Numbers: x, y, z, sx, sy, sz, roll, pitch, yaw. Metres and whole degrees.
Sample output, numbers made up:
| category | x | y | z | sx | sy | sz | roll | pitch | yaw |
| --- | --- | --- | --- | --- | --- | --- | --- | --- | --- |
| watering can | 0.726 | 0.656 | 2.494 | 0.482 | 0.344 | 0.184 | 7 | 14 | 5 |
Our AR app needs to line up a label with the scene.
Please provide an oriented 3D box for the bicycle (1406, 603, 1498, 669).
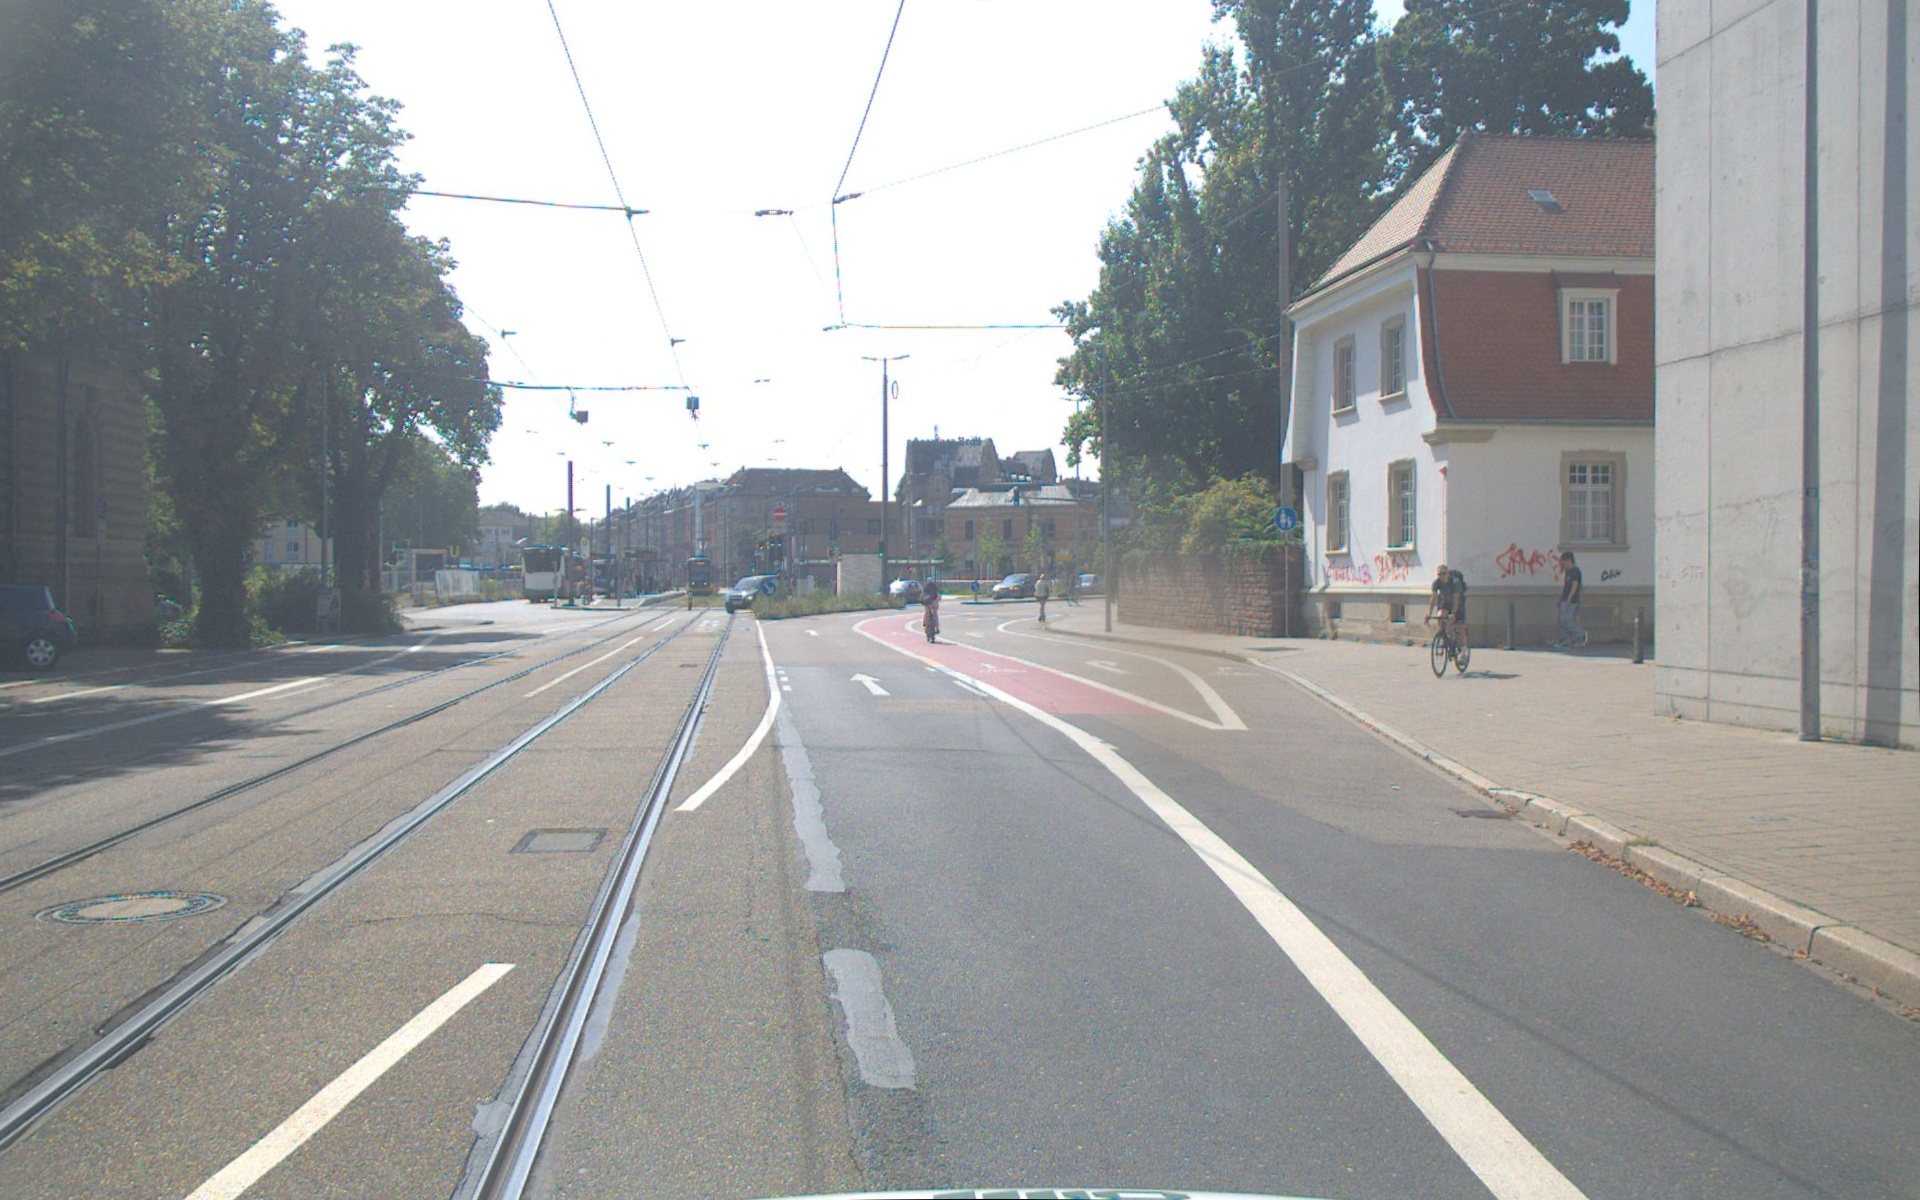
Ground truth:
| category | x | y | z | sx | sy | sz | roll | pitch | yaw |
| --- | --- | --- | --- | --- | --- | --- | --- | --- | --- |
| bicycle | 7.874 | 0.559 | 26.453 | 1.696 | 1.017 | 0.607 | 0 | 1 | -42 |

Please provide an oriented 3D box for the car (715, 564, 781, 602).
| category | x | y | z | sx | sy | sz | roll | pitch | yaw |
| --- | --- | --- | --- | --- | --- | --- | --- | --- | --- |
| car | -9.717 | -0.781 | 76.036 | 1.655 | 1.684 | 3.583 | 1 | 1 | 17 |

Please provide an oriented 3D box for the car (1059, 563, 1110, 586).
| category | x | y | z | sx | sy | sz | roll | pitch | yaw |
| --- | --- | --- | --- | --- | --- | --- | --- | --- | --- |
| car | 8.424 | -1.740 | 111.858 | 1.621 | 1.557 | 4.315 | 0 | 1 | 32 |

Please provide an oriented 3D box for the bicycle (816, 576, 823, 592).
| category | x | y | z | sx | sy | sz | roll | pitch | yaw |
| --- | --- | --- | --- | --- | --- | --- | --- | --- | --- |
| bicycle | -9.334 | -1.048 | 110.019 | 0.455 | 1.050 | 1.546 | 1 | 1 | -6 |

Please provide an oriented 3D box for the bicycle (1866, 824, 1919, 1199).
| category | x | y | z | sx | sy | sz | roll | pitch | yaw |
| --- | --- | --- | --- | --- | --- | --- | --- | --- | --- |
| bicycle | 2.766 | 1.119 | 3.073 | 0.725 | 1.067 | 2.230 | 0 | 1 | -7 |

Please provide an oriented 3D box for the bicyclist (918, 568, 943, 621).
| category | x | y | z | sx | sy | sz | roll | pitch | yaw |
| --- | --- | --- | --- | --- | --- | --- | --- | --- | --- |
| bicyclist | -0.749 | -0.145 | 42.101 | 0.591 | 1.358 | 0.659 | 0 | 1 | -6 |

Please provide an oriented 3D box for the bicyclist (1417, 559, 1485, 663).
| category | x | y | z | sx | sy | sz | roll | pitch | yaw |
| --- | --- | --- | --- | --- | --- | --- | --- | --- | --- |
| bicyclist | 7.834 | 0.163 | 26.375 | 0.984 | 1.626 | 0.618 | -1 | 1 | -42 |

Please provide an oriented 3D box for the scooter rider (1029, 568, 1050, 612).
| category | x | y | z | sx | sy | sz | roll | pitch | yaw |
| --- | --- | --- | --- | --- | --- | --- | --- | --- | --- |
| scooter rider | 3.268 | -0.421 | 67.948 | 0.746 | 1.806 | 0.555 | 0 | 1 | 15 |

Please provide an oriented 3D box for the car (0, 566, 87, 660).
| category | x | y | z | sx | sy | sz | roll | pitch | yaw |
| --- | --- | --- | --- | --- | --- | --- | --- | --- | --- |
| car | -16.780 | 0.207 | 27.025 | 1.791 | 1.522 | 4.134 | 1 | 2 | 45 |

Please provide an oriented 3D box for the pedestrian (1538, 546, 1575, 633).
| category | x | y | z | sx | sy | sz | roll | pitch | yaw |
| --- | --- | --- | --- | --- | --- | --- | --- | --- | --- |
| pedestrian | 11.792 | -0.206 | 32.699 | 0.476 | 1.695 | 0.620 | 0 | 1 | -2 |

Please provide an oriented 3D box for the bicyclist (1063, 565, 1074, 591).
| category | x | y | z | sx | sy | sz | roll | pitch | yaw |
| --- | --- | --- | --- | --- | --- | --- | --- | --- | --- |
| bicyclist | 5.957 | -1.205 | 90.994 | 0.441 | 1.446 | 0.495 | 0 | 1 | 28 |

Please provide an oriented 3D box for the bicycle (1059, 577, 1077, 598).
| category | x | y | z | sx | sy | sz | roll | pitch | yaw |
| --- | --- | --- | --- | --- | --- | --- | --- | --- | --- |
| bicycle | 5.917 | -0.674 | 90.935 | 0.435 | 1.136 | 1.444 | 0 | 1 | 28 |

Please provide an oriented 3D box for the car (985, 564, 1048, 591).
| category | x | y | z | sx | sy | sz | roll | pitch | yaw |
| --- | --- | --- | --- | --- | --- | --- | --- | --- | --- |
| car | 3.523 | -1.402 | 102.357 | 1.741 | 1.638 | 4.659 | 1 | 1 | 34 |

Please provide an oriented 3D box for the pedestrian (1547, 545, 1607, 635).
| category | x | y | z | sx | sy | sz | roll | pitch | yaw |
| --- | --- | --- | --- | --- | --- | --- | --- | --- | --- |
| pedestrian | 11.918 | -0.199 | 31.964 | 0.859 | 1.694 | 0.729 | 0 | 1 | -2 |

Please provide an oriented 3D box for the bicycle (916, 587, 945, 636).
| category | x | y | z | sx | sy | sz | roll | pitch | yaw |
| --- | --- | --- | --- | --- | --- | --- | --- | --- | --- |
| bicycle | -0.759 | 0.279 | 42.137 | 0.592 | 1.183 | 1.808 | 0 | 1 | -6 |

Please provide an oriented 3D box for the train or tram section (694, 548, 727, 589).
| category | x | y | z | sx | sy | sz | roll | pitch | yaw |
| --- | --- | --- | --- | --- | --- | --- | --- | --- | --- |
| train or tram section | -26.611 | -3.373 | 177.183 | 2.831 | 4.138 | 19.113 | 1 | 1 | -7 |

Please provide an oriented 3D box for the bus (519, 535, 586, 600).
| category | x | y | z | sx | sy | sz | roll | pitch | yaw |
| --- | --- | --- | --- | --- | --- | --- | --- | --- | --- |
| bus | -25.256 | -2.009 | 103.014 | 2.902 | 3.840 | 10.578 | 1 | 1 | -8 |

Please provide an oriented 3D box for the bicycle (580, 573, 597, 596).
| category | x | y | z | sx | sy | sz | roll | pitch | yaw |
| --- | --- | --- | --- | --- | --- | --- | --- | --- | --- |
| bicycle | -20.262 | -0.861 | 90.202 | 0.595 | 1.244 | 1.704 | 0 | 1 | -3 |

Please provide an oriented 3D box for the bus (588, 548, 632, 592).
| category | x | y | z | sx | sy | sz | roll | pitch | yaw |
| --- | --- | --- | --- | --- | --- | --- | --- | --- | --- |
| bus | -31.218 | -2.661 | 147.871 | 2.657 | 3.792 | 10.406 | 1 | 1 | -6 |

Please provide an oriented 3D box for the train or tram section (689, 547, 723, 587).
| category | x | y | z | sx | sy | sz | roll | pitch | yaw |
| --- | --- | --- | --- | --- | --- | --- | --- | --- | --- |
| train or tram section | -24.320 | -3.126 | 158.866 | 2.802 | 3.610 | 17.713 | 1 | 1 | -8 |

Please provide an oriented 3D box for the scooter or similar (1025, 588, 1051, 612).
| category | x | y | z | sx | sy | sz | roll | pitch | yaw |
| --- | --- | --- | --- | --- | --- | --- | --- | --- | --- |
| scooter or similar | 3.210 | -0.011 | 67.730 | 0.756 | 0.942 | 1.622 | 1 | 1 | 15 |
